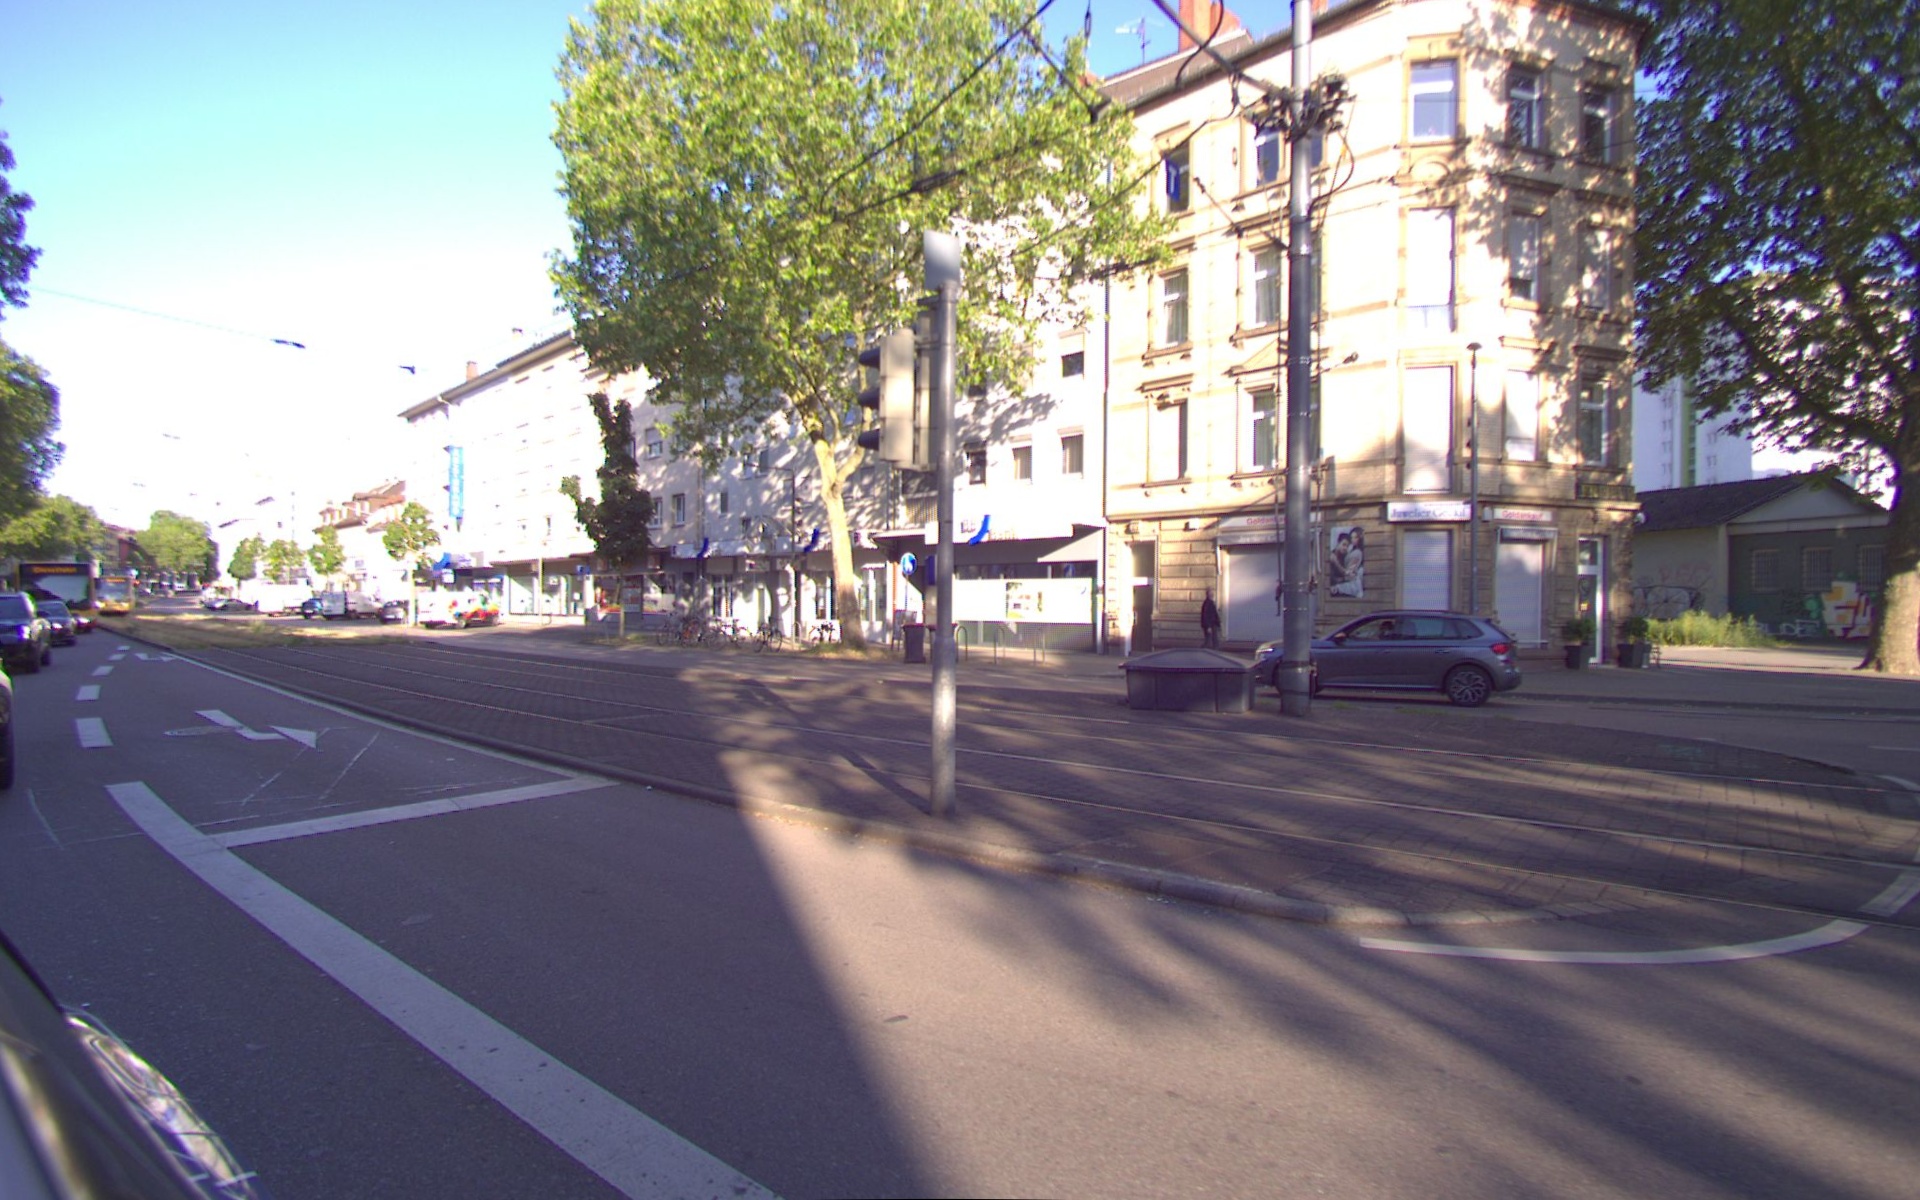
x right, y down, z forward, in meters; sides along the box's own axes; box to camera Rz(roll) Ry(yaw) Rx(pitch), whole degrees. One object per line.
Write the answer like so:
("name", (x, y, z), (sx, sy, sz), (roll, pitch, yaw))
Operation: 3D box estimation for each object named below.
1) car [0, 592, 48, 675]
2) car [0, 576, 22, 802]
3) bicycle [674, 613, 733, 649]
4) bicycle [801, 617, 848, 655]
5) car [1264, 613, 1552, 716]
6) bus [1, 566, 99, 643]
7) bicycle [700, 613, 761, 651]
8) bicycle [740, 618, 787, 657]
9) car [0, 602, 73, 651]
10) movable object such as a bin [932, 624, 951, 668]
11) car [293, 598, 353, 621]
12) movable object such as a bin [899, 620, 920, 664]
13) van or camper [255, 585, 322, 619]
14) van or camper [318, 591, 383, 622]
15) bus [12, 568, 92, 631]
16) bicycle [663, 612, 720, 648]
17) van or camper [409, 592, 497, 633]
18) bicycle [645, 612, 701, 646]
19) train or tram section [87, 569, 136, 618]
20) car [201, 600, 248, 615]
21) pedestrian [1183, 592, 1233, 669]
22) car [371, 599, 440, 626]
("car", (-19.938, 0.650, 20.815), (1.634, 1.593, 4.006), (0, 0, -41))
("car", (-9.001, 0.659, 8.341), (1.782, 1.659, 4.005), (-1, 1, -42))
("bicycle", (-8.601, 1.019, 33.965), (0.652, 1.132, 1.872), (0, 1, 44))
("bicycle", (-4.294, 1.111, 32.008), (0.502, 1.132, 1.914), (-1, 1, -42))
("car", (7.371, 0.976, 16.837), (4.187, 1.483, 1.874), (0, 0, 28))
("bus", (-40.519, 0.016, 45.178), (2.830, 3.000, 12.257), (-2, 3, -41))
("bicycle", (-7.398, 1.023, 32.739), (0.652, 1.132, 1.872), (0, 1, 44))
("bicycle", (-5.971, 1.124, 30.708), (0.502, 1.132, 1.914), (-1, 1, -42))
("car", (-29.730, 0.813, 32.641), (1.634, 1.497, 4.167), (0, 0, -41))
("movable object such as a bin", (-0.475, 1.159, 25.675), (0.470, 1.102, 0.574), (0, -1, -3))
("car", (-48.074, 0.676, 76.467), (1.855, 1.598, 3.997), (-1, 1, 3))
("movable object such as a bin", (-1.309, 1.083, 26.255), (0.537, 1.102, 0.648), (0, -1, -3))
("van or camper", (-57.493, 0.098, 86.780), (1.969, 2.687, 6.407), (-1, 1, -6))
("van or camper", (-43.111, 0.439, 71.653), (1.776, 2.004, 4.449), (-1, 1, 2))
("bus", (-48.597, -0.190, 54.286), (2.830, 3.000, 12.257), (-2, 3, -41))
("bicycle", (-9.160, 1.013, 34.541), (0.534, 1.132, 1.872), (0, 1, 44))
("van or camper", (-26.453, 0.613, 53.047), (1.926, 1.912, 4.809), (-1, 1, 4))
("bicycle", (-10.041, 1.007, 35.436), (0.534, 1.132, 1.872), (0, 1, 44))
("train or tram section", (-64.029, -0.458, 76.473), (2.598, 3.476, 11.149), (-1, 1, -39))
("car", (-81.369, 0.768, 111.994), (1.759, 1.501, 3.885), (-1, 1, 24))
("pedestrian", (5.979, 0.715, 24.383), (0.611, 1.801, 0.972), (-2, 1, -39))
("car", (-33.758, 0.726, 61.735), (1.745, 1.501, 4.452), (-1, 1, 0))
